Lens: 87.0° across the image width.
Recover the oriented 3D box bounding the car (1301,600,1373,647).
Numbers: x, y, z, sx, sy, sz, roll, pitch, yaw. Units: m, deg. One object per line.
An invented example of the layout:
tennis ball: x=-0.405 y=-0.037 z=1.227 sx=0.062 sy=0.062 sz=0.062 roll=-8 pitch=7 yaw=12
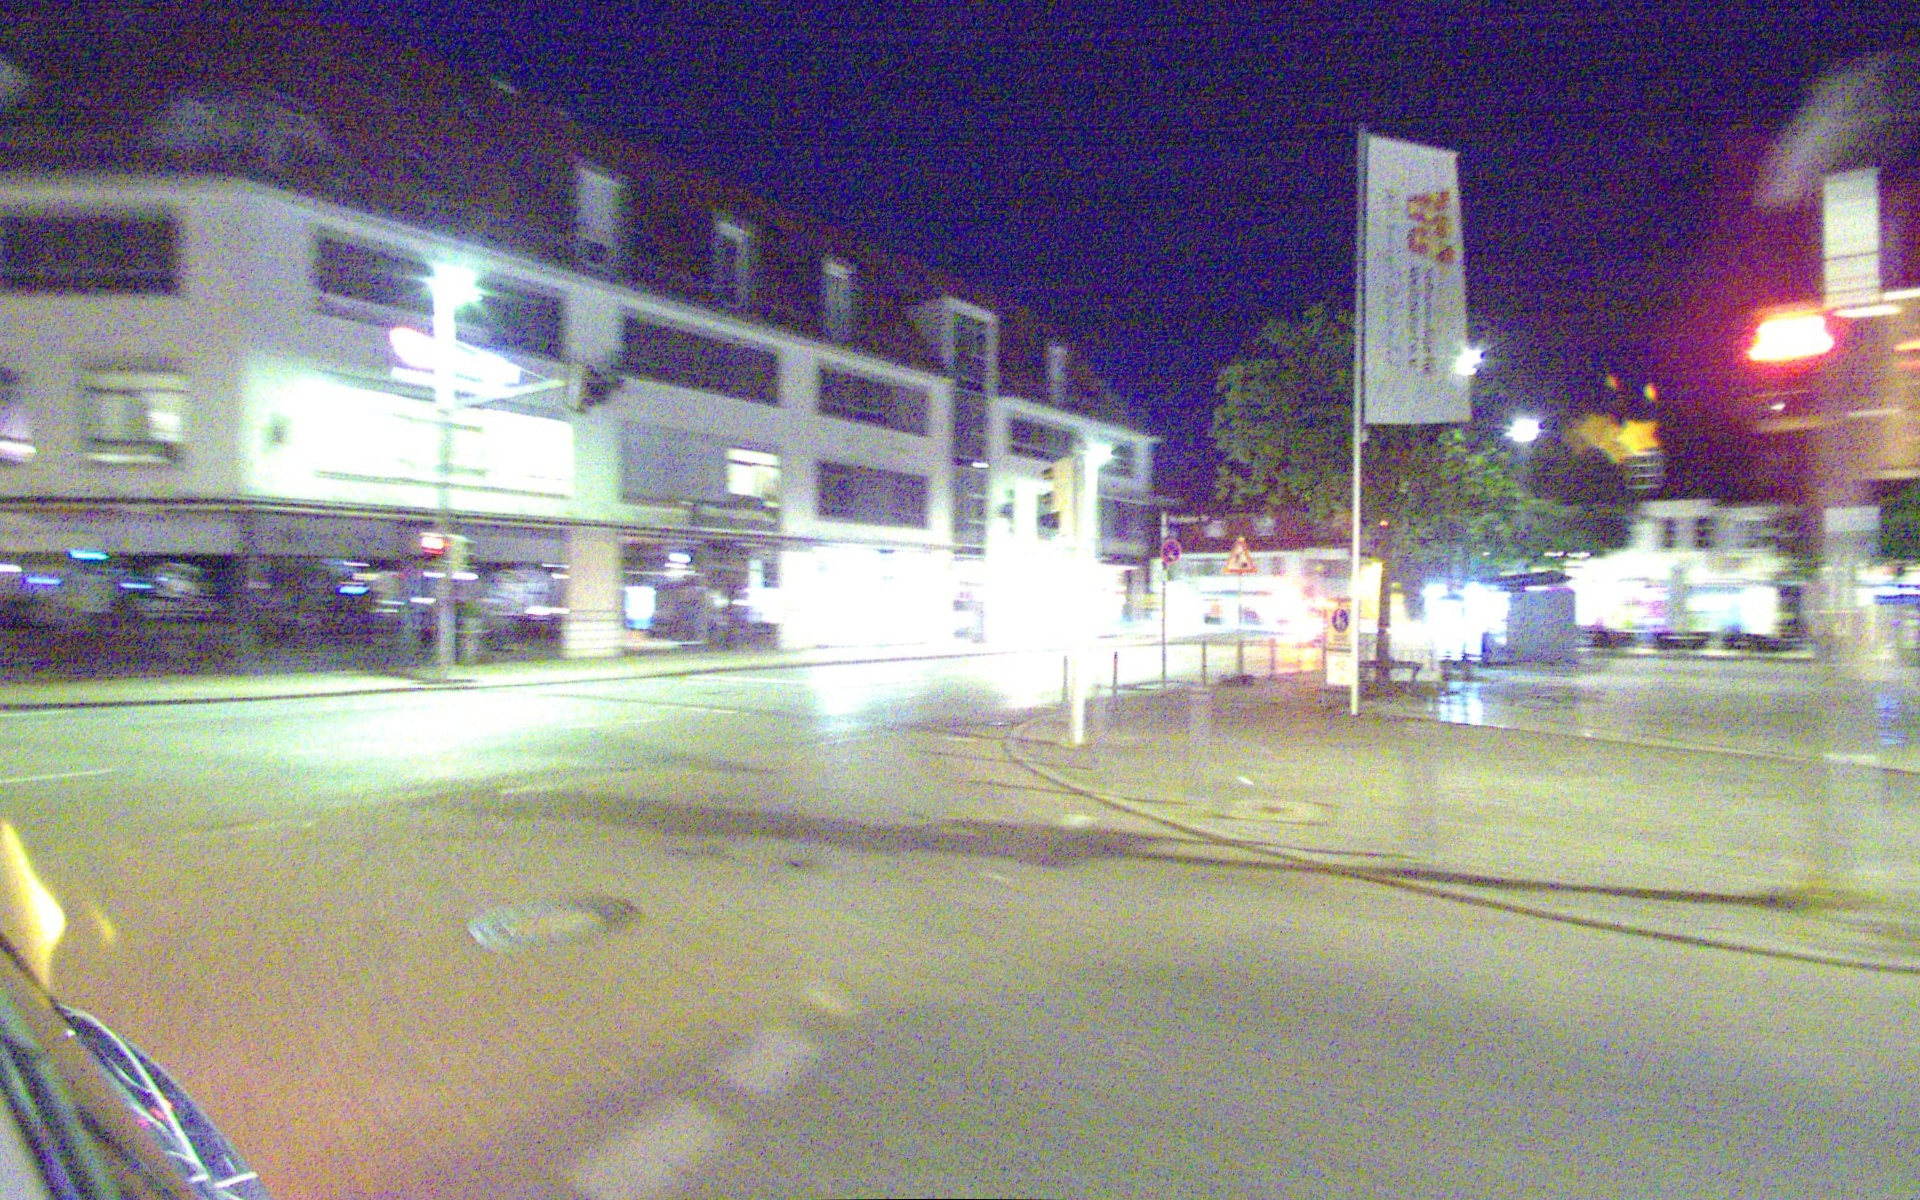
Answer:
car: x=16.616 y=1.043 z=44.451 sx=1.955 sy=1.952 sz=4.366 roll=-2 pitch=-2 yaw=34
